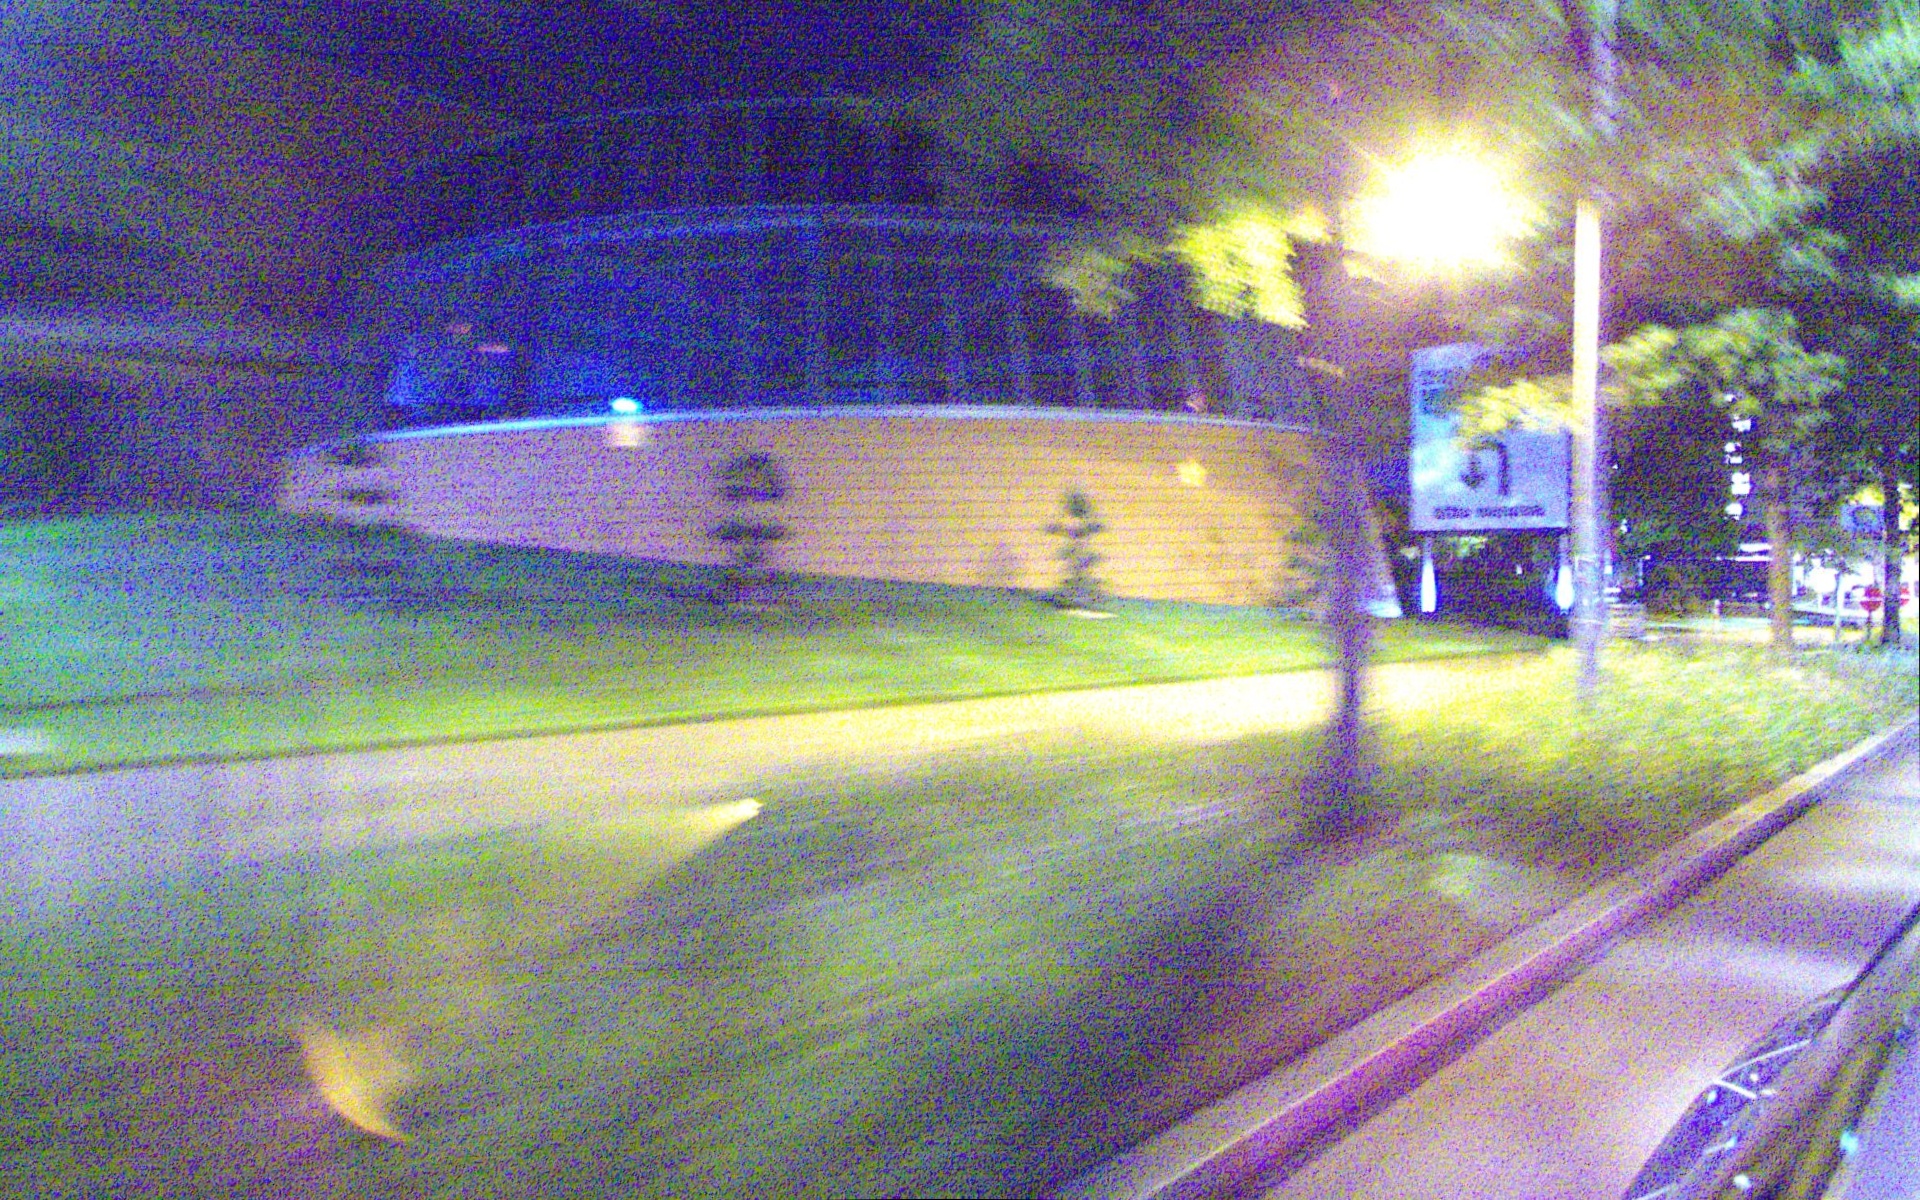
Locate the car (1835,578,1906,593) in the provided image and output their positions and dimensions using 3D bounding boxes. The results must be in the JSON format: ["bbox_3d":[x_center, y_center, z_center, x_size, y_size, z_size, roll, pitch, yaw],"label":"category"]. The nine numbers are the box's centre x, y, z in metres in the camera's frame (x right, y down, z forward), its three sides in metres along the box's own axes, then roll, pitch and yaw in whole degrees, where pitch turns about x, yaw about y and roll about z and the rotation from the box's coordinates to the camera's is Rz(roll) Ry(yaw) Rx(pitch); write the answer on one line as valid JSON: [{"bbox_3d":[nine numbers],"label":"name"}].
[{"bbox_3d":[71.265,-1.162,79.281,3.933,1.047,1.481,2,1,8],"label":"car"}]
